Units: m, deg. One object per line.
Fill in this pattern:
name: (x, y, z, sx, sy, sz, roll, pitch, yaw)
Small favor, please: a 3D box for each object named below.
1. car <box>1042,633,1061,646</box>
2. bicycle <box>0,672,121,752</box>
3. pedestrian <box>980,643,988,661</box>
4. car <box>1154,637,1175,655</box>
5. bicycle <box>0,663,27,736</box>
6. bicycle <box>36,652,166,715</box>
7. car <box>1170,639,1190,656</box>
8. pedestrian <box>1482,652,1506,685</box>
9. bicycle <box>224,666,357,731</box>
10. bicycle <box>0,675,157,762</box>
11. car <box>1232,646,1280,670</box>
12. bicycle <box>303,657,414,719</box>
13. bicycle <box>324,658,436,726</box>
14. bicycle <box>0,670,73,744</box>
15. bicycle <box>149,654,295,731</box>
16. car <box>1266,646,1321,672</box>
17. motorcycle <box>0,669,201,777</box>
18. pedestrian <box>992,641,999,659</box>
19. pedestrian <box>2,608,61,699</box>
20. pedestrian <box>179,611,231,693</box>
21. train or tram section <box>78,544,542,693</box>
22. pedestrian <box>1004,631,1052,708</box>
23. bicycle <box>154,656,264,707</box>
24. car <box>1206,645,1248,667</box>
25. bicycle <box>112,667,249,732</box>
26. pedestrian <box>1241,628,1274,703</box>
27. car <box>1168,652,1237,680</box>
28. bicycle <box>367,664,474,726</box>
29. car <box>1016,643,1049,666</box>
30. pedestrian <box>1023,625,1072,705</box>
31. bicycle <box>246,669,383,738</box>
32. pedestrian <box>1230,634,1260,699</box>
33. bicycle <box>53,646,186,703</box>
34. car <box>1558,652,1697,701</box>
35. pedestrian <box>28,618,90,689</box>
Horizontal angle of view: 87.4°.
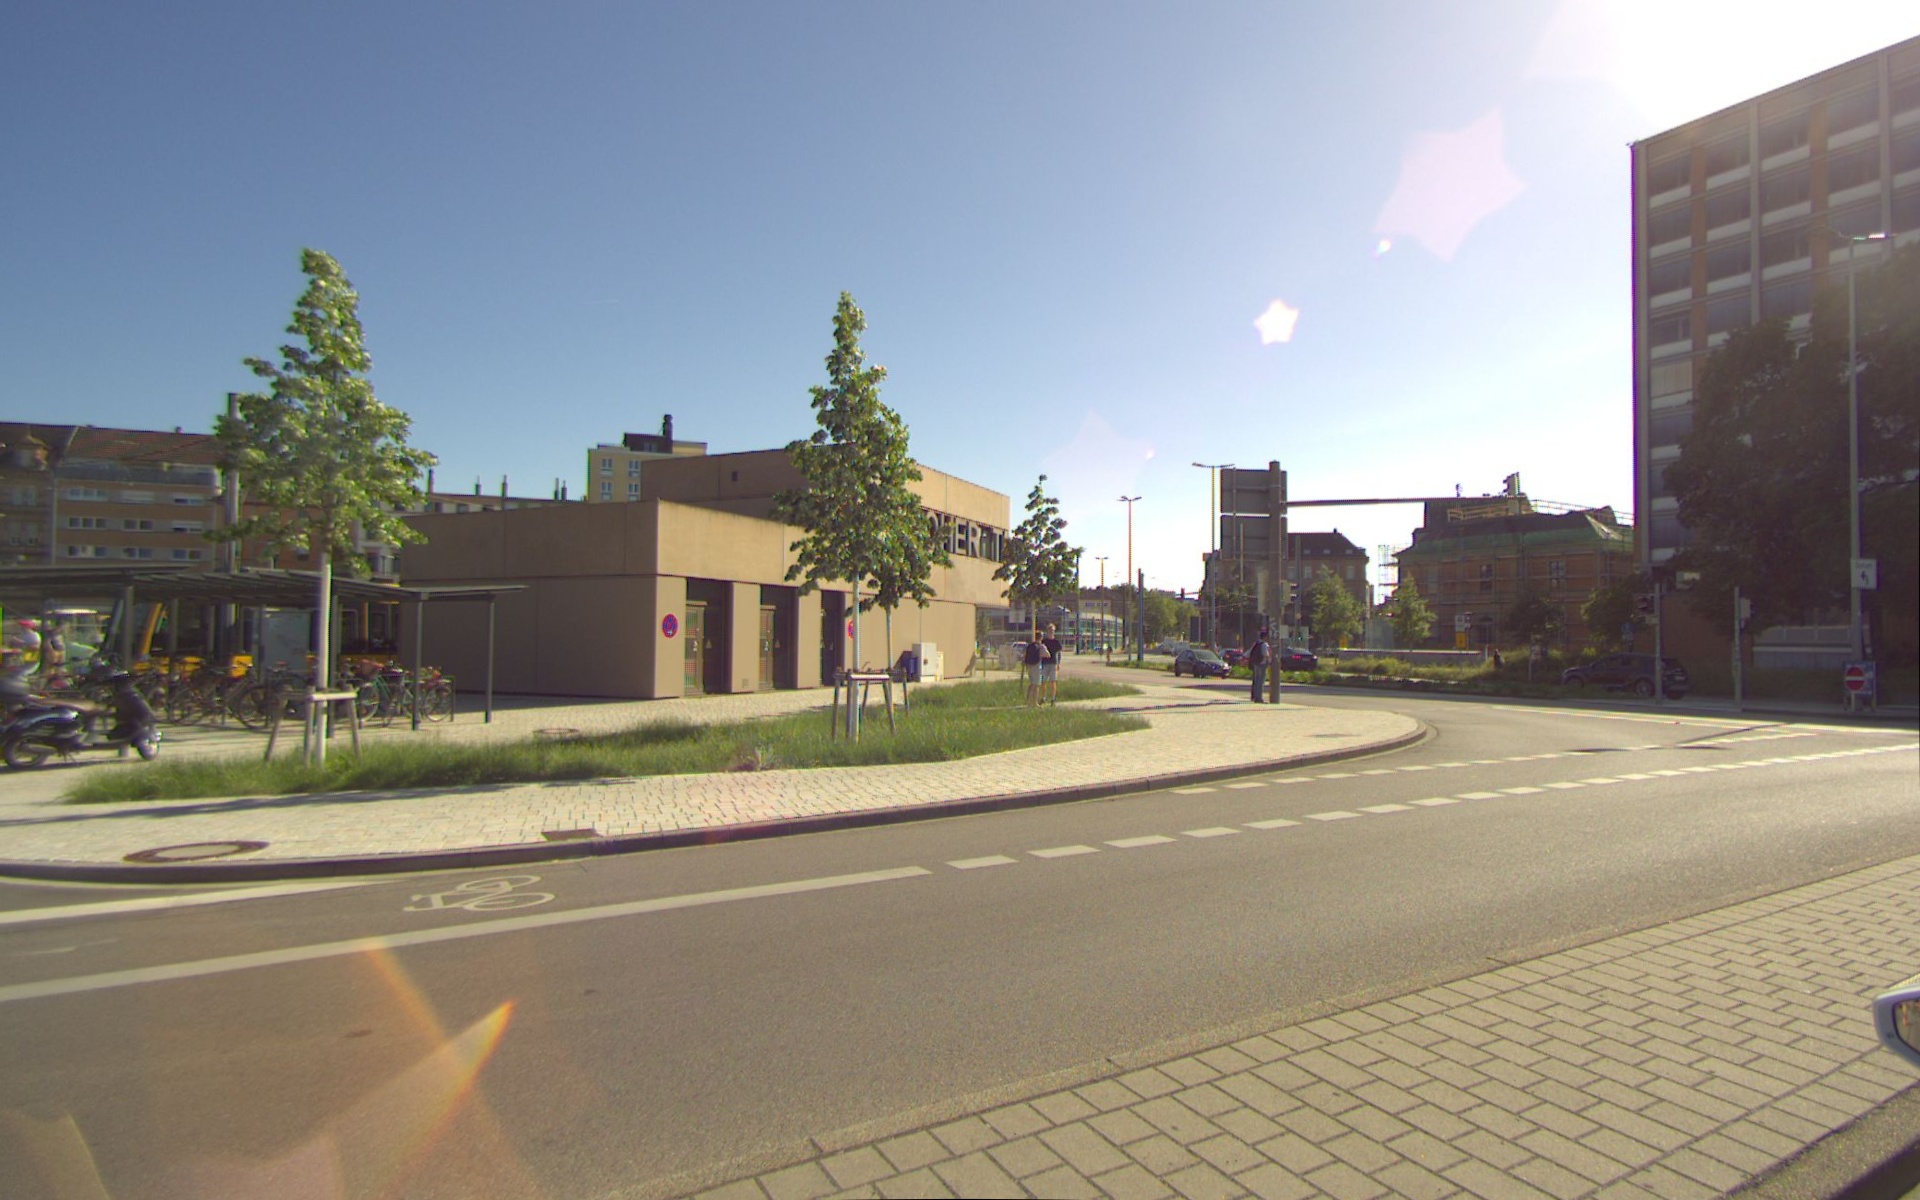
car: (12.146, 5.217, 132.807, 1.959, 1.603, 4.003, 0, -2, 13)
bicycle: (-13.127, 1.561, 14.074, 0.617, 1.021, 2.026, 0, -2, 25)
pedestrian: (2.651, 5.687, 110.010, 0.708, 2.040, 0.718, 0, -2, 13)
car: (29.734, 6.654, 145.961, 2.952, 2.580, 6.963, 0, -2, 11)
bicycle: (-15.278, 1.520, 15.013, 0.617, 1.094, 1.829, 0, -2, 25)
bicycle: (-16.917, 1.615, 19.830, 0.617, 1.146, 1.828, 0, -2, 27)
car: (28.012, 6.038, 127.835, 2.030, 2.040, 5.019, 0, -2, 7)
pedestrian: (33.150, 4.254, 62.339, 0.995, 2.040, 0.826, 0, -2, -3)
bicycle: (-11.621, 1.684, 17.502, 0.492, 1.010, 1.887, 0, -2, 31)
bicycle: (-12.044, 1.563, 13.522, 0.617, 1.021, 1.829, 0, -2, 25)
car: (20.276, 3.946, 69.000, 1.962, 1.538, 3.818, 1, -2, -4)
bicycle: (-11.752, 1.692, 19.690, 0.617, 1.107, 1.829, 0, -2, 25)
bicycle: (-10.749, 1.680, 18.685, 0.616, 1.161, 1.831, 0, -2, 18)
bicycle: (-14.111, 1.554, 14.514, 0.617, 1.021, 1.829, 0, -2, 25)
bicycle: (-12.894, 1.587, 17.631, 0.496, 1.225, 2.051, 0, -2, 26)
car: (20.801, 3.664, 62.736, 1.962, 1.538, 3.818, 1, -2, -4)
motorcycle: (-10.926, 1.482, 12.477, 0.599, 1.173, 2.360, 0, -2, 25)
pedestrian: (4.064, 5.787, 116.024, 0.708, 2.040, 0.718, 0, -2, 11)
pedestrian: (-19.432, 1.110, 21.032, 0.671, 1.880, 0.602, 1, -2, -19)
pedestrian: (-17.753, 1.216, 23.630, 0.738, 1.880, 0.709, 1, -2, -19)
train or tram section: (-18.757, 0.674, 30.771, 2.702, 3.648, 12.318, 0, -2, 25)
pedestrian: (1.556, 1.587, 23.220, 1.005, 1.727, 0.838, 1, -2, -3)
bicycle: (-16.264, 1.738, 21.805, 0.617, 1.021, 1.829, 0, -2, 25)
car: (20.046, 4.216, 75.507, 1.962, 1.538, 3.818, 1, -2, -4)
bicycle: (-13.871, 1.746, 17.939, 0.617, 1.021, 1.828, 0, -2, 27)
pedestrian: (7.589, 1.660, 25.641, 0.594, 1.880, 0.681, 1, -2, -7)
car: (12.665, 3.459, 52.730, 1.965, 1.407, 3.992, 1, -3, -12)
bicycle: (-9.829, 1.714, 18.386, 0.616, 1.021, 1.832, 0, -2, 16)
car: (5.997, 4.469, 83.439, 1.963, 1.814, 3.995, 1, -2, -8)
pedestrian: (2.080, 1.525, 23.916, 0.828, 1.869, 0.864, -1, -2, 36)
bicycle: (-10.678, 1.683, 16.685, 0.617, 1.021, 1.828, 0, -2, 27)
pedestrian: (7.644, 1.786, 26.954, 0.594, 1.719, 0.634, 1, -2, -7)
bicycle: (-15.999, 1.396, 19.168, 0.617, 1.021, 1.828, 0, -2, 27)
car: (24.284, 2.739, 36.715, 1.806, 1.591, 3.986, 1, -2, -17)
pedestrian: (-26.269, 1.544, 29.289, 0.854, 2.040, 1.012, 0, -2, 19)
